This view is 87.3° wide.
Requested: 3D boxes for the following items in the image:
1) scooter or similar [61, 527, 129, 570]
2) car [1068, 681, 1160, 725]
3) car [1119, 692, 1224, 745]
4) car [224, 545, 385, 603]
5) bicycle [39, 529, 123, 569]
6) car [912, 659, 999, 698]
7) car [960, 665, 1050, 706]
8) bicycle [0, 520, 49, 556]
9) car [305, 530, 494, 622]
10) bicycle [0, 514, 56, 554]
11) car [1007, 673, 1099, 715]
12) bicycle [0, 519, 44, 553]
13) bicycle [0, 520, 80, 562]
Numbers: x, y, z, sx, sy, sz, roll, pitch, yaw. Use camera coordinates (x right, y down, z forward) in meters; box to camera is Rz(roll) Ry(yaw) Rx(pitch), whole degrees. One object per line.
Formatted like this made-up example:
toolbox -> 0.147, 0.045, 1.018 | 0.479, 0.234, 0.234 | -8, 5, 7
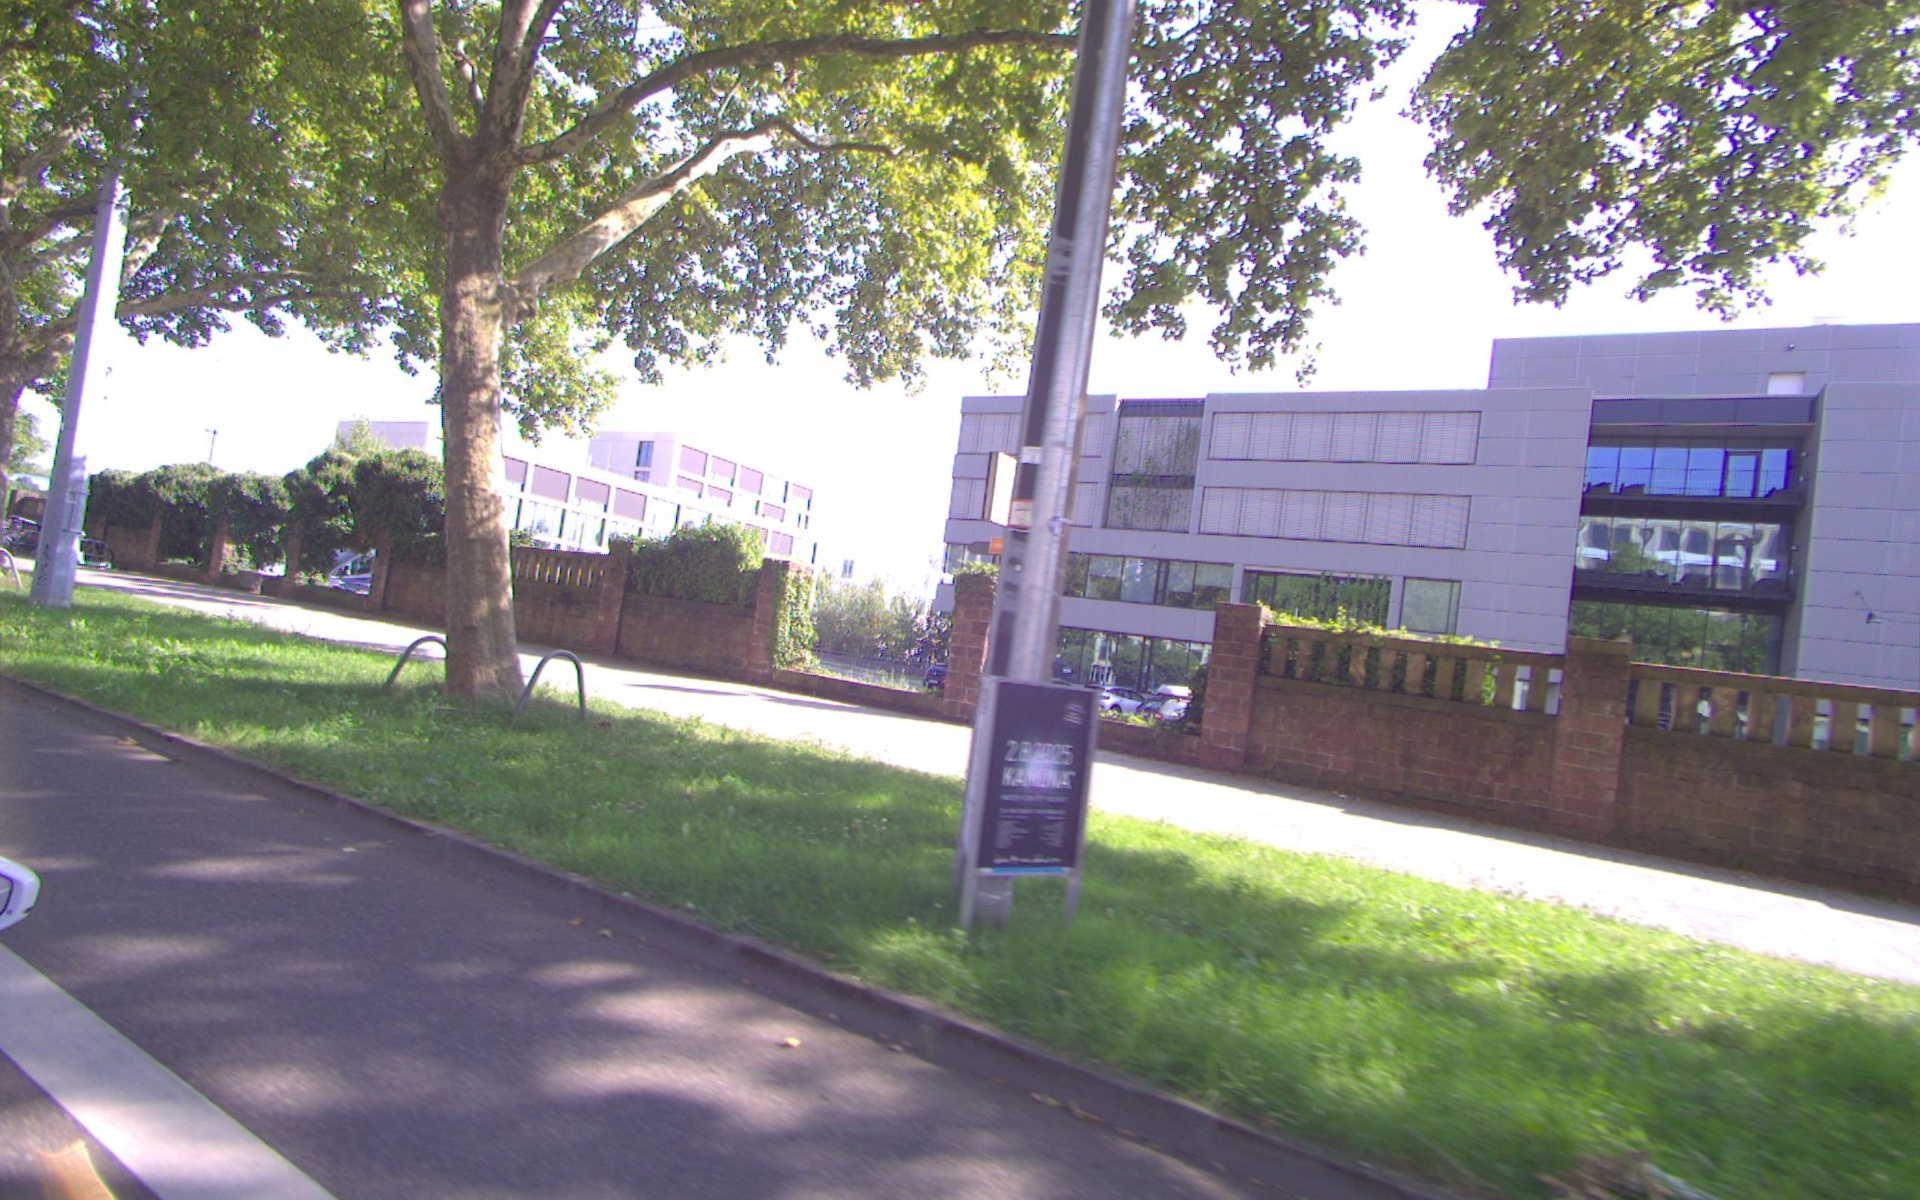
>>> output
scooter or similar -> -28.413, -1.685, 33.062 | 0.530, 1.205, 1.507 | 6, -2, 35
car -> 6.773, 4.507, 44.042 | 3.950, 1.522, 1.801 | 9, -2, -43
car -> 8.037, 4.511, 38.089 | 3.948, 1.628, 1.802 | 9, -2, -42
car -> -25.937, -0.990, 40.047 | 2.146, 1.495, 4.915 | 7, -3, 22
bicycle -> -29.307, -1.693, 33.562 | 0.722, 1.017, 1.872 | 6, -3, 29
car -> -0.184, 3.837, 49.239 | 3.949, 1.474, 1.794 | 9, -2, -42
car -> 2.135, 4.015, 46.844 | 3.949, 1.474, 1.794 | 9, -2, -42
bicycle -> -34.125, -2.275, 35.944 | 0.731, 1.089, 2.175 | 6, -1, 34
car -> -20.267, -0.798, 36.639 | 2.214, 2.461, 5.387 | 6, -3, 33
bicycle -> -35.650, -2.519, 37.801 | 0.982, 1.292, 2.248 | 5, -2, 30
car -> 4.193, 4.241, 45.070 | 3.949, 1.474, 1.794 | 9, -2, -43
bicycle -> -34.756, -2.378, 36.441 | 0.731, 1.089, 2.175 | 6, -1, 34
bicycle -> -32.178, -2.058, 34.985 | 0.730, 1.088, 2.180 | 6, -3, 29
